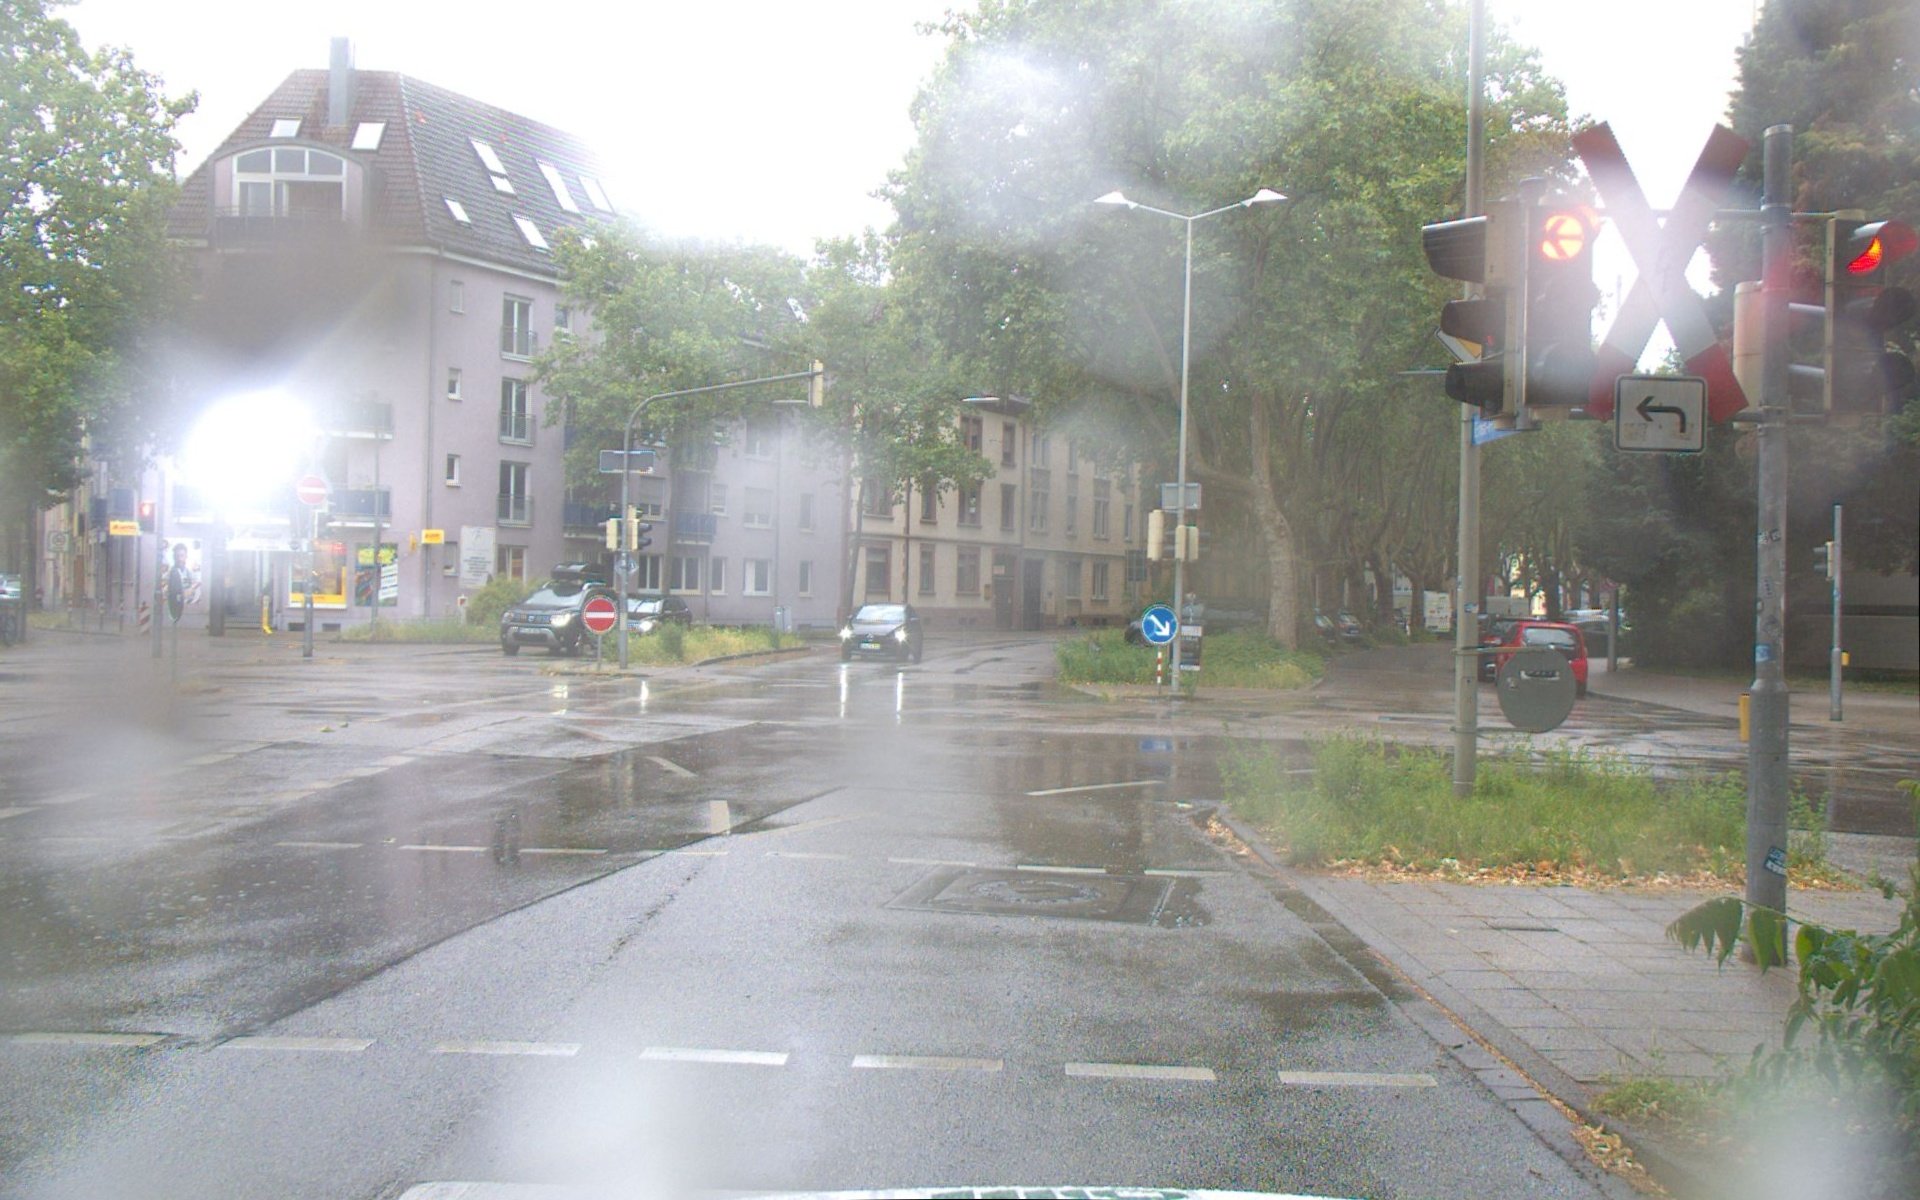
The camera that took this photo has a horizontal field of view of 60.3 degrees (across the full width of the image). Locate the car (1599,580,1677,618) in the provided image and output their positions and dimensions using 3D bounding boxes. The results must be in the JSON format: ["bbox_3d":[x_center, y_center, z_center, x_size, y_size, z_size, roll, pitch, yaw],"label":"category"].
[{"bbox_3d":[37.844,-0.068,92.455,3.903,2.049,1.708,0,0,19],"label":"car"}]

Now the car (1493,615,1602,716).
[{"bbox_3d":[12.955,1.386,36.666,1.951,2.049,4.003,0,0,15],"label":"car"}]

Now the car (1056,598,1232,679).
[{"bbox_3d":[3.691,0.762,33.027,3.405,1.550,1.521,0,0,8],"label":"car"}]

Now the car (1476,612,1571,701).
[{"bbox_3d":[13.933,1.348,41.090,1.951,2.049,4.003,0,0,15],"label":"car"}]

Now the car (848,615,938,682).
[{"bbox_3d":[-1.668,1.217,42.468,1.568,1.579,3.563,0,0,10],"label":"car"}]

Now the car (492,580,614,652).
[{"bbox_3d":[-9.449,0.345,38.642,1.688,1.579,3.562,0,0,5],"label":"car"}]

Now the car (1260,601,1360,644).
[{"bbox_3d":[13.863,0.871,65.491,3.537,1.646,1.679,0,0,28],"label":"car"}]

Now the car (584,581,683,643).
[{"bbox_3d":[-8.787,0.300,44.745,1.688,1.579,3.562,0,0,5],"label":"car"}]

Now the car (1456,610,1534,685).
[{"bbox_3d":[15.501,1.336,48.061,1.951,2.049,4.003,0,0,15],"label":"car"}]
